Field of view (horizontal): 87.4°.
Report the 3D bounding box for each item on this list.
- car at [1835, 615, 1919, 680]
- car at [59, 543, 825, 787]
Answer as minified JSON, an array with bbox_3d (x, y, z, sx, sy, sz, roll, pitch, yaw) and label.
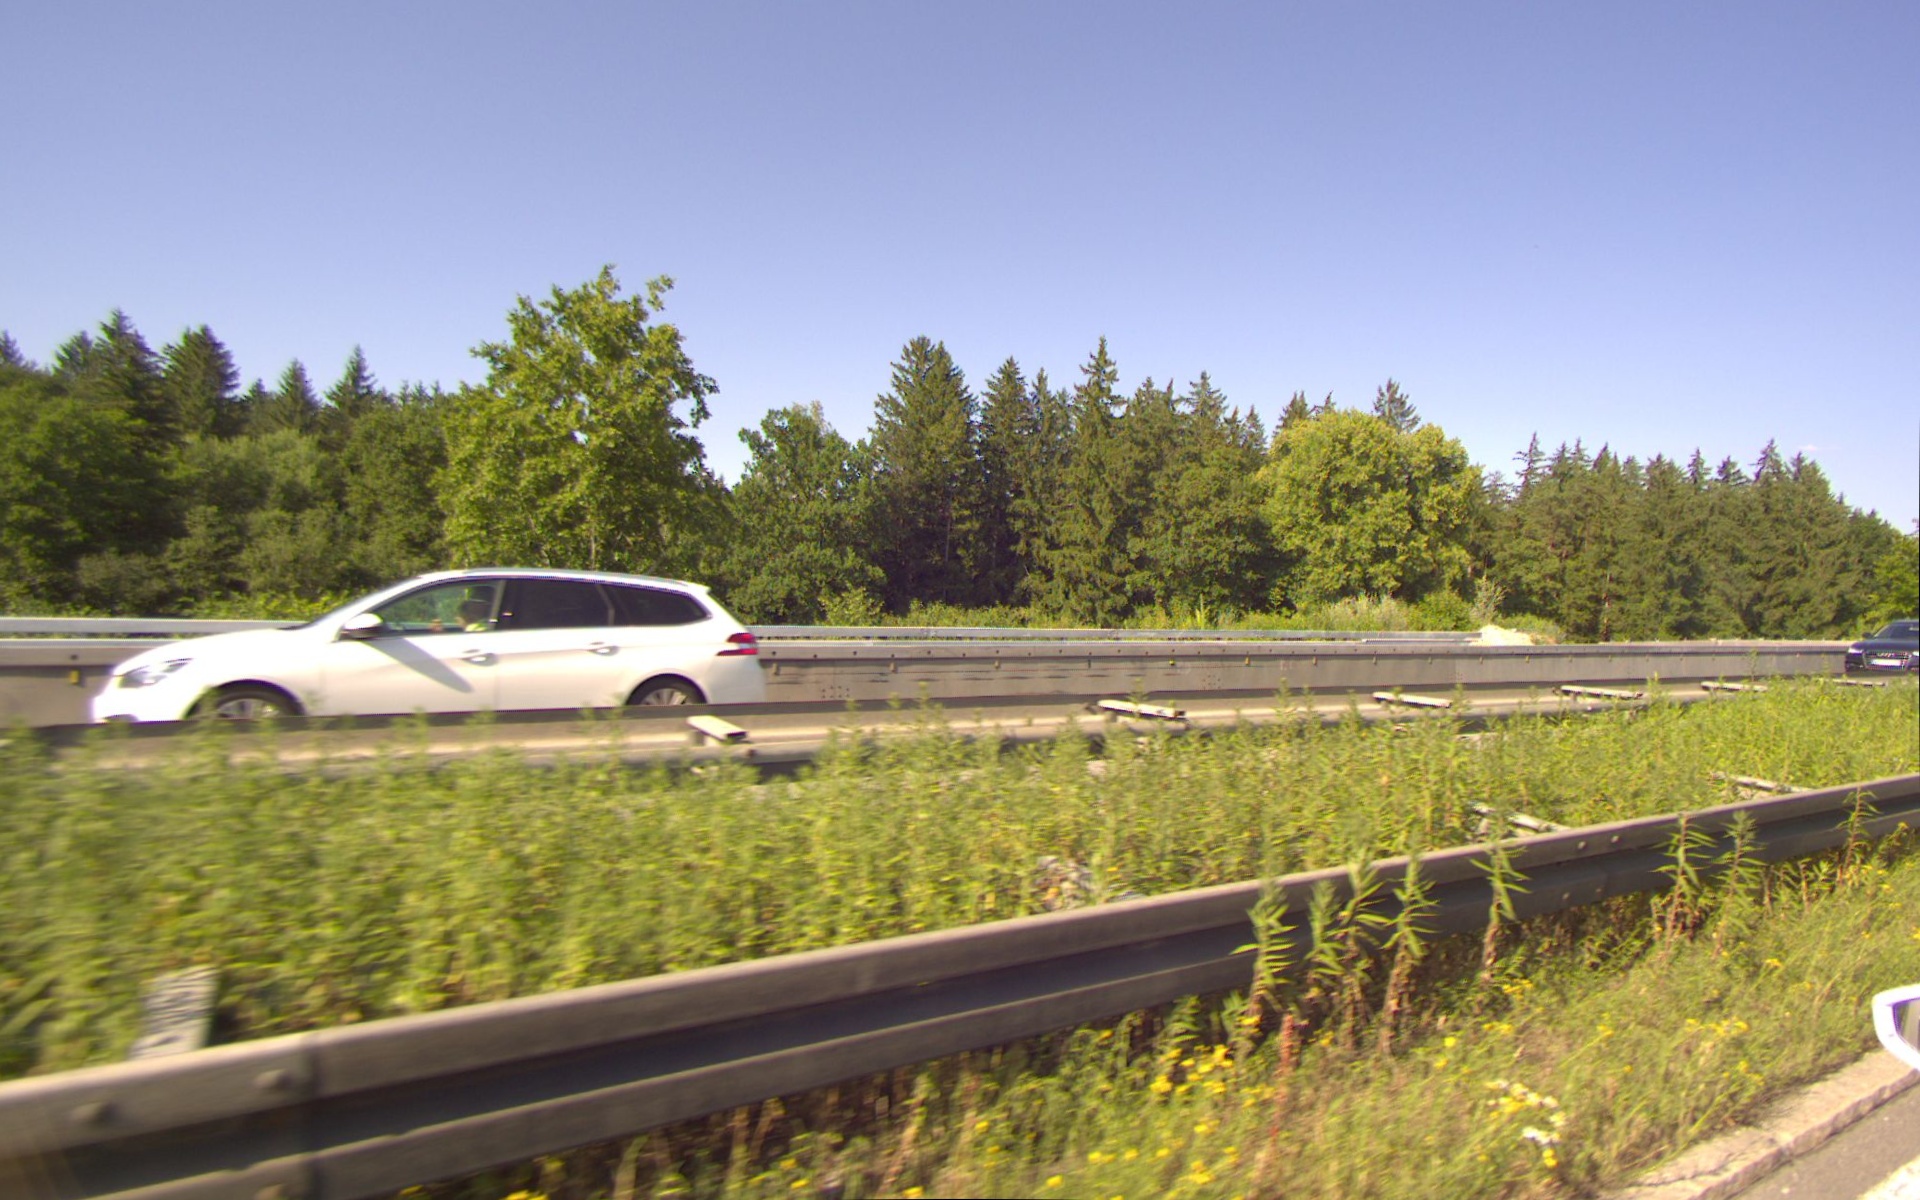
[{"bbox_3d":[23.485,1.138,24.484,5.175,1.451,1.733,1,-2,-31],"label":"car"},{"bbox_3d":[-3.671,0.446,7.977,4.898,1.451,1.693,1,-1,-31],"label":"car"}]
